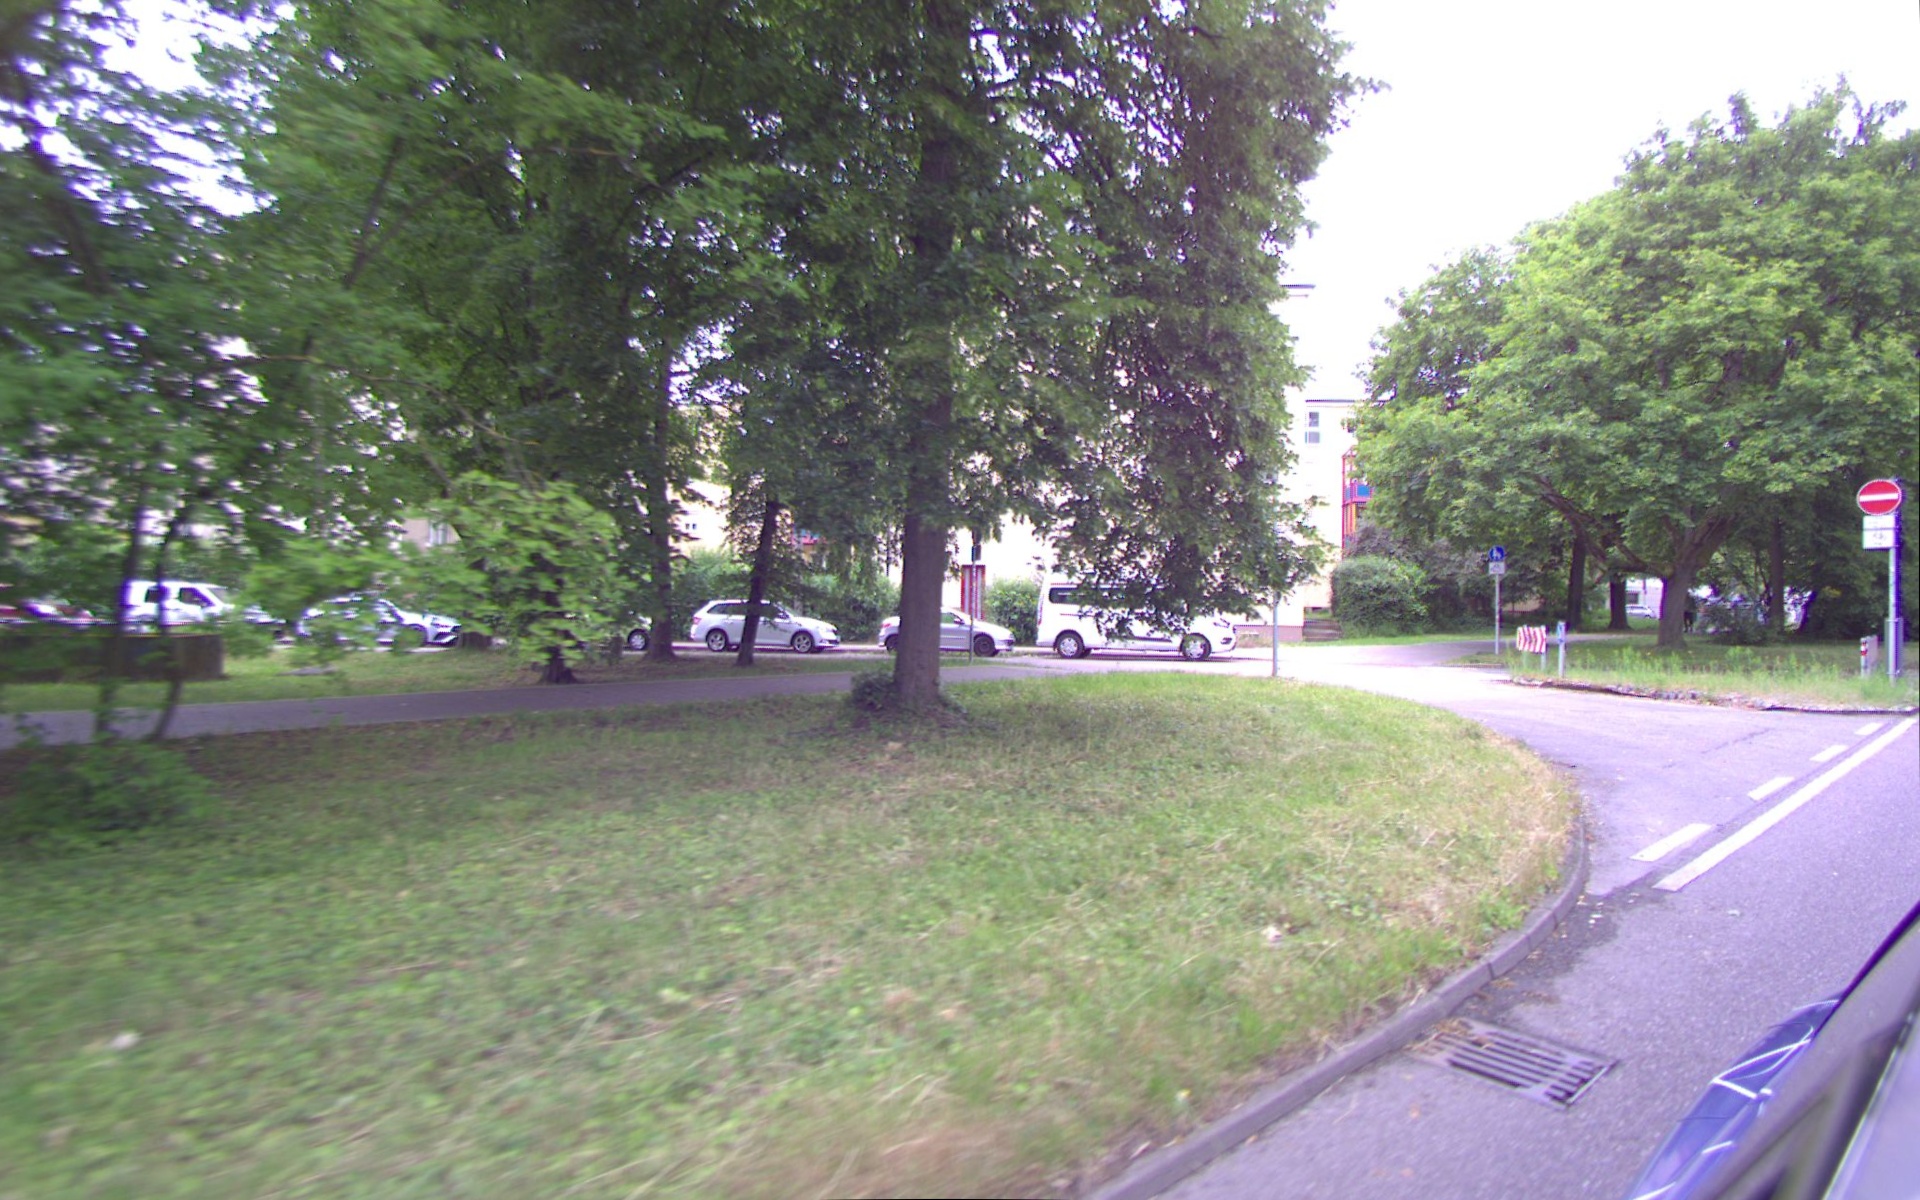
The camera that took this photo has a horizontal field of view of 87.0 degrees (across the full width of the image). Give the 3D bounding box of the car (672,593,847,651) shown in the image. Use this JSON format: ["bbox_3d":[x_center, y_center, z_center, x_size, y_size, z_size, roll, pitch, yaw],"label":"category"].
[{"bbox_3d":[-5.595,0.605,28.568,4.522,1.529,1.797,0,-1,5],"label":"car"}]

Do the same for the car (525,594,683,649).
[{"bbox_3d":[-10.181,0.603,29.137,3.926,1.529,1.799,0,-1,3],"label":"car"}]

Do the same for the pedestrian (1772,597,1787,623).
[{"bbox_3d":[45.815,0.547,56.594,0.647,1.435,0.641,0,0,39],"label":"pedestrian"}]

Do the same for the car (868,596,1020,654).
[{"bbox_3d":[-0.404,0.665,28.012,3.936,1.529,1.794,0,-1,11],"label":"car"}]

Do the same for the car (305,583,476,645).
[{"bbox_3d":[-16.332,0.392,29.140,3.927,1.696,1.798,0,-1,3],"label":"car"}]

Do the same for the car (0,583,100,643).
[{"bbox_3d":[-28.003,0.380,29.806,3.927,1.696,1.798,0,-1,3],"label":"car"}]

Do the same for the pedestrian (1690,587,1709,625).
[{"bbox_3d":[33.225,0.263,45.479,0.647,1.682,0.641,0,0,39],"label":"pedestrian"}]

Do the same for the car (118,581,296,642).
[{"bbox_3d":[-21.879,0.324,29.511,3.927,1.696,1.798,0,-1,3],"label":"car"}]

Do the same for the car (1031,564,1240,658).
[{"bbox_3d":[4.706,0.277,26.897,5.254,2.328,2.280,0,-1,17],"label":"car"}]
